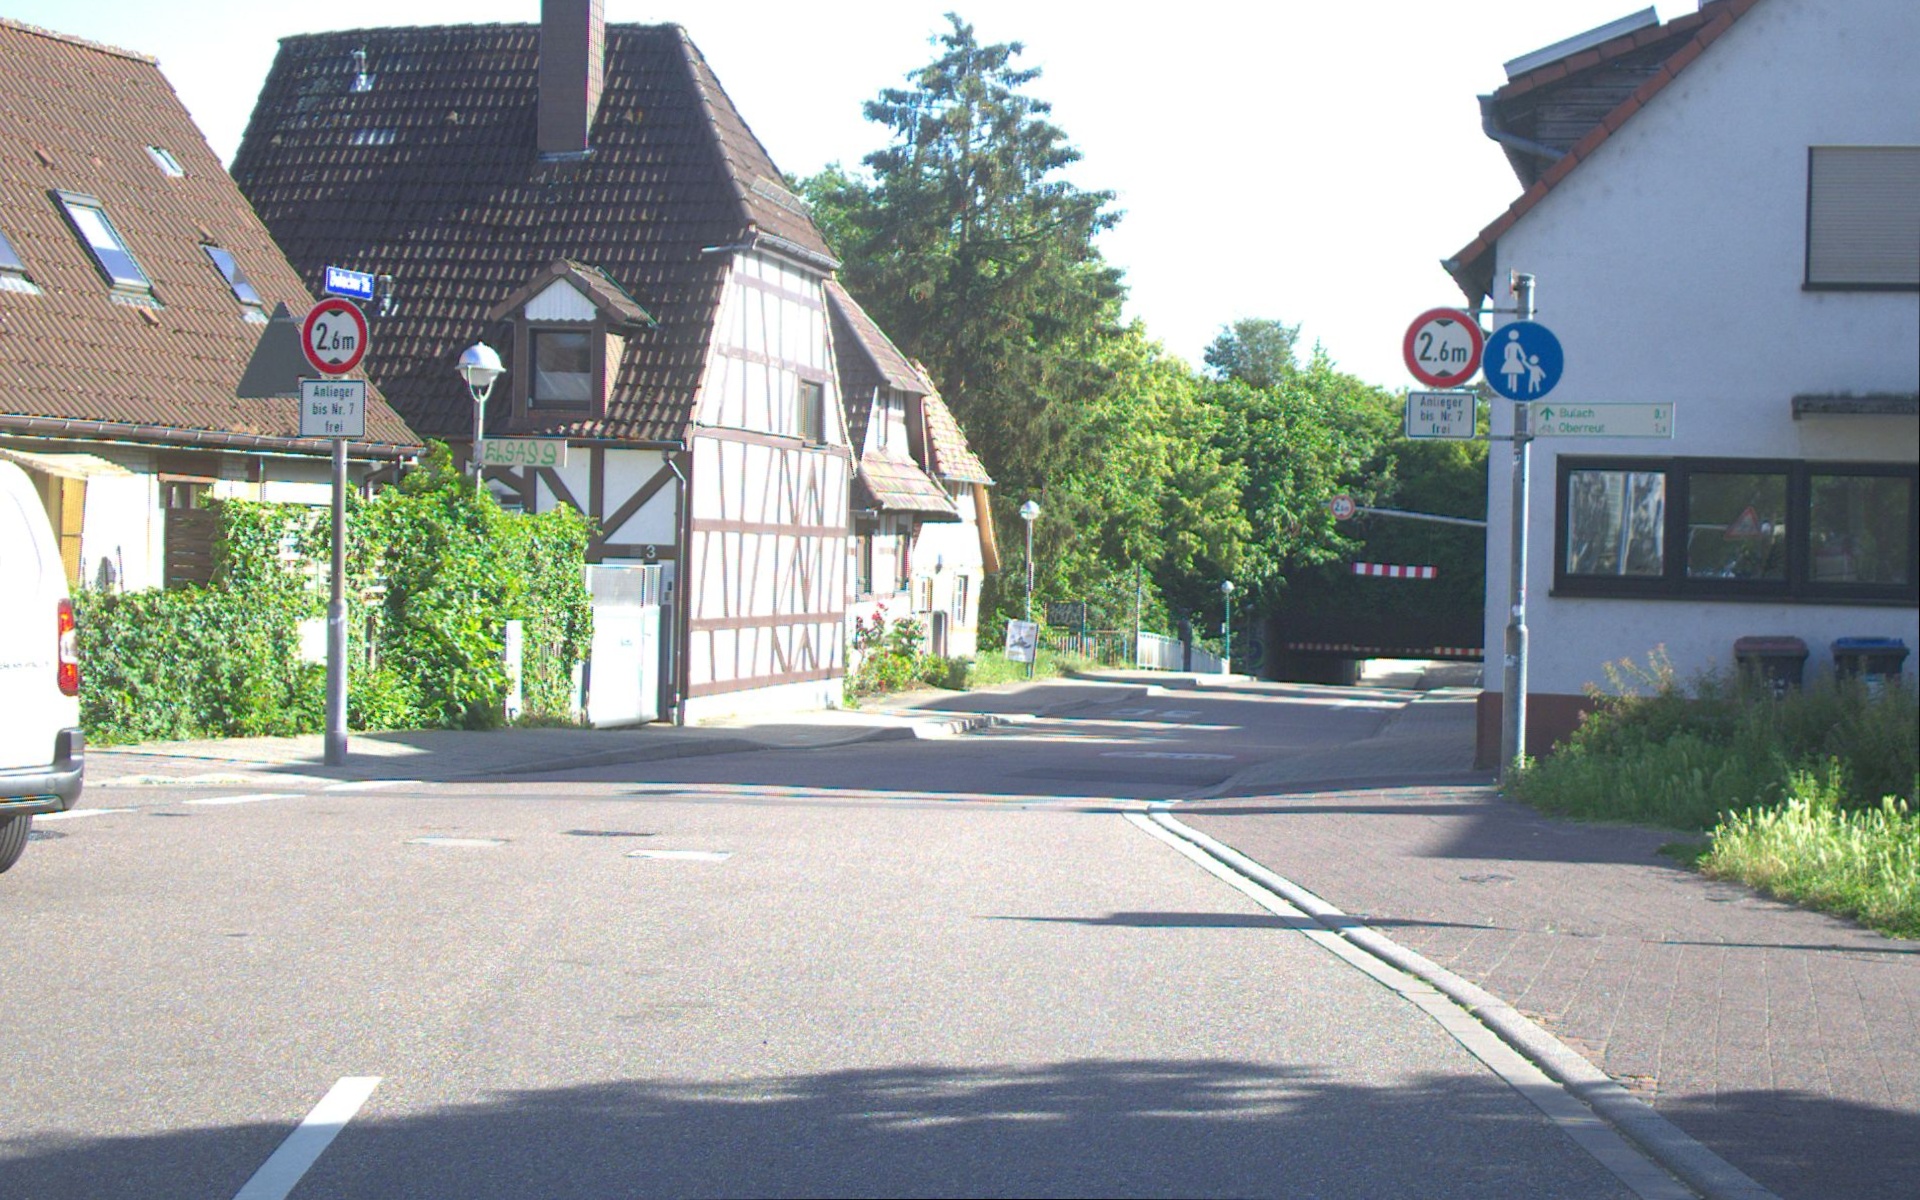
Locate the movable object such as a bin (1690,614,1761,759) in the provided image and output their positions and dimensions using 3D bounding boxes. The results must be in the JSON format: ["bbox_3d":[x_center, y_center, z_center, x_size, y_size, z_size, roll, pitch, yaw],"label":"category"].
[{"bbox_3d":[6.156,0.688,27.678,0.480,1.119,0.748,2,1,9],"label":"movable object such as a bin"}]

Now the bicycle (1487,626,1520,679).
[{"bbox_3d":[12.444,1.204,78.691,0.689,1.153,1.539,-3,-1,9],"label":"bicycle"}]

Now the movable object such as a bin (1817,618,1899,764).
[{"bbox_3d":[7.168,0.715,27.455,0.527,1.119,0.748,2,1,9],"label":"movable object such as a bin"}]

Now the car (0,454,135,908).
[{"bbox_3d":[-5.830,0.270,15.160,4.556,1.841,1.959,2,2,41],"label":"car"}]
